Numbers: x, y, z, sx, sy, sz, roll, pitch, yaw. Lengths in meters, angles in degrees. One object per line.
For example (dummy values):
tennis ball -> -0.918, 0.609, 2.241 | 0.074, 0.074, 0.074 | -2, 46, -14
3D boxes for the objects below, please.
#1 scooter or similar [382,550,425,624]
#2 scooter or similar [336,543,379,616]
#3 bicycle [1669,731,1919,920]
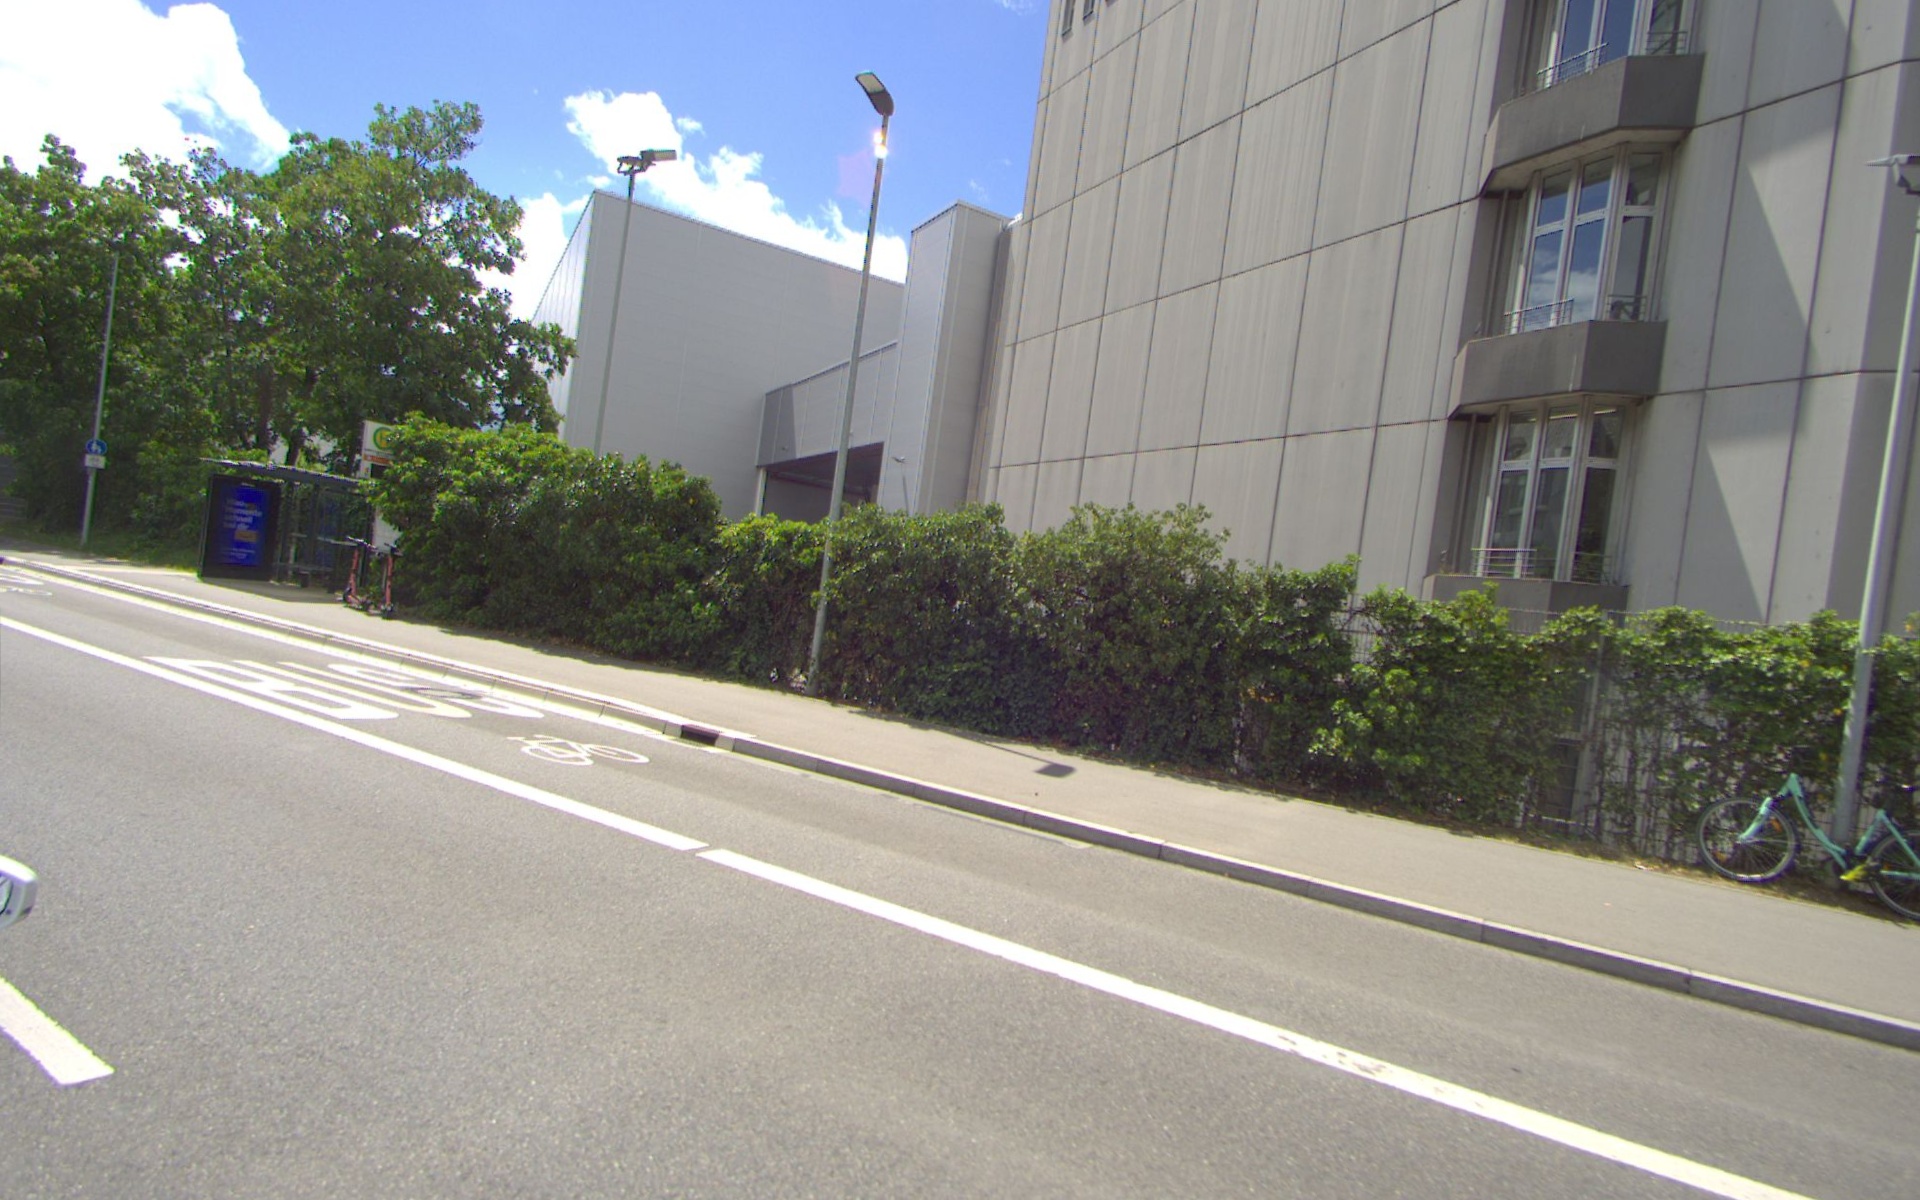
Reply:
scooter or similar -> -9.920, -0.257, 17.909 | 0.537, 1.177, 1.777 | 6, 1, -31
scooter or similar -> -10.909, -0.395, 18.253 | 0.537, 1.177, 2.110 | 6, 1, -31
bicycle -> 7.234, 1.839, 8.039 | 2.428, 1.193, 0.444 | 6, -1, 32
